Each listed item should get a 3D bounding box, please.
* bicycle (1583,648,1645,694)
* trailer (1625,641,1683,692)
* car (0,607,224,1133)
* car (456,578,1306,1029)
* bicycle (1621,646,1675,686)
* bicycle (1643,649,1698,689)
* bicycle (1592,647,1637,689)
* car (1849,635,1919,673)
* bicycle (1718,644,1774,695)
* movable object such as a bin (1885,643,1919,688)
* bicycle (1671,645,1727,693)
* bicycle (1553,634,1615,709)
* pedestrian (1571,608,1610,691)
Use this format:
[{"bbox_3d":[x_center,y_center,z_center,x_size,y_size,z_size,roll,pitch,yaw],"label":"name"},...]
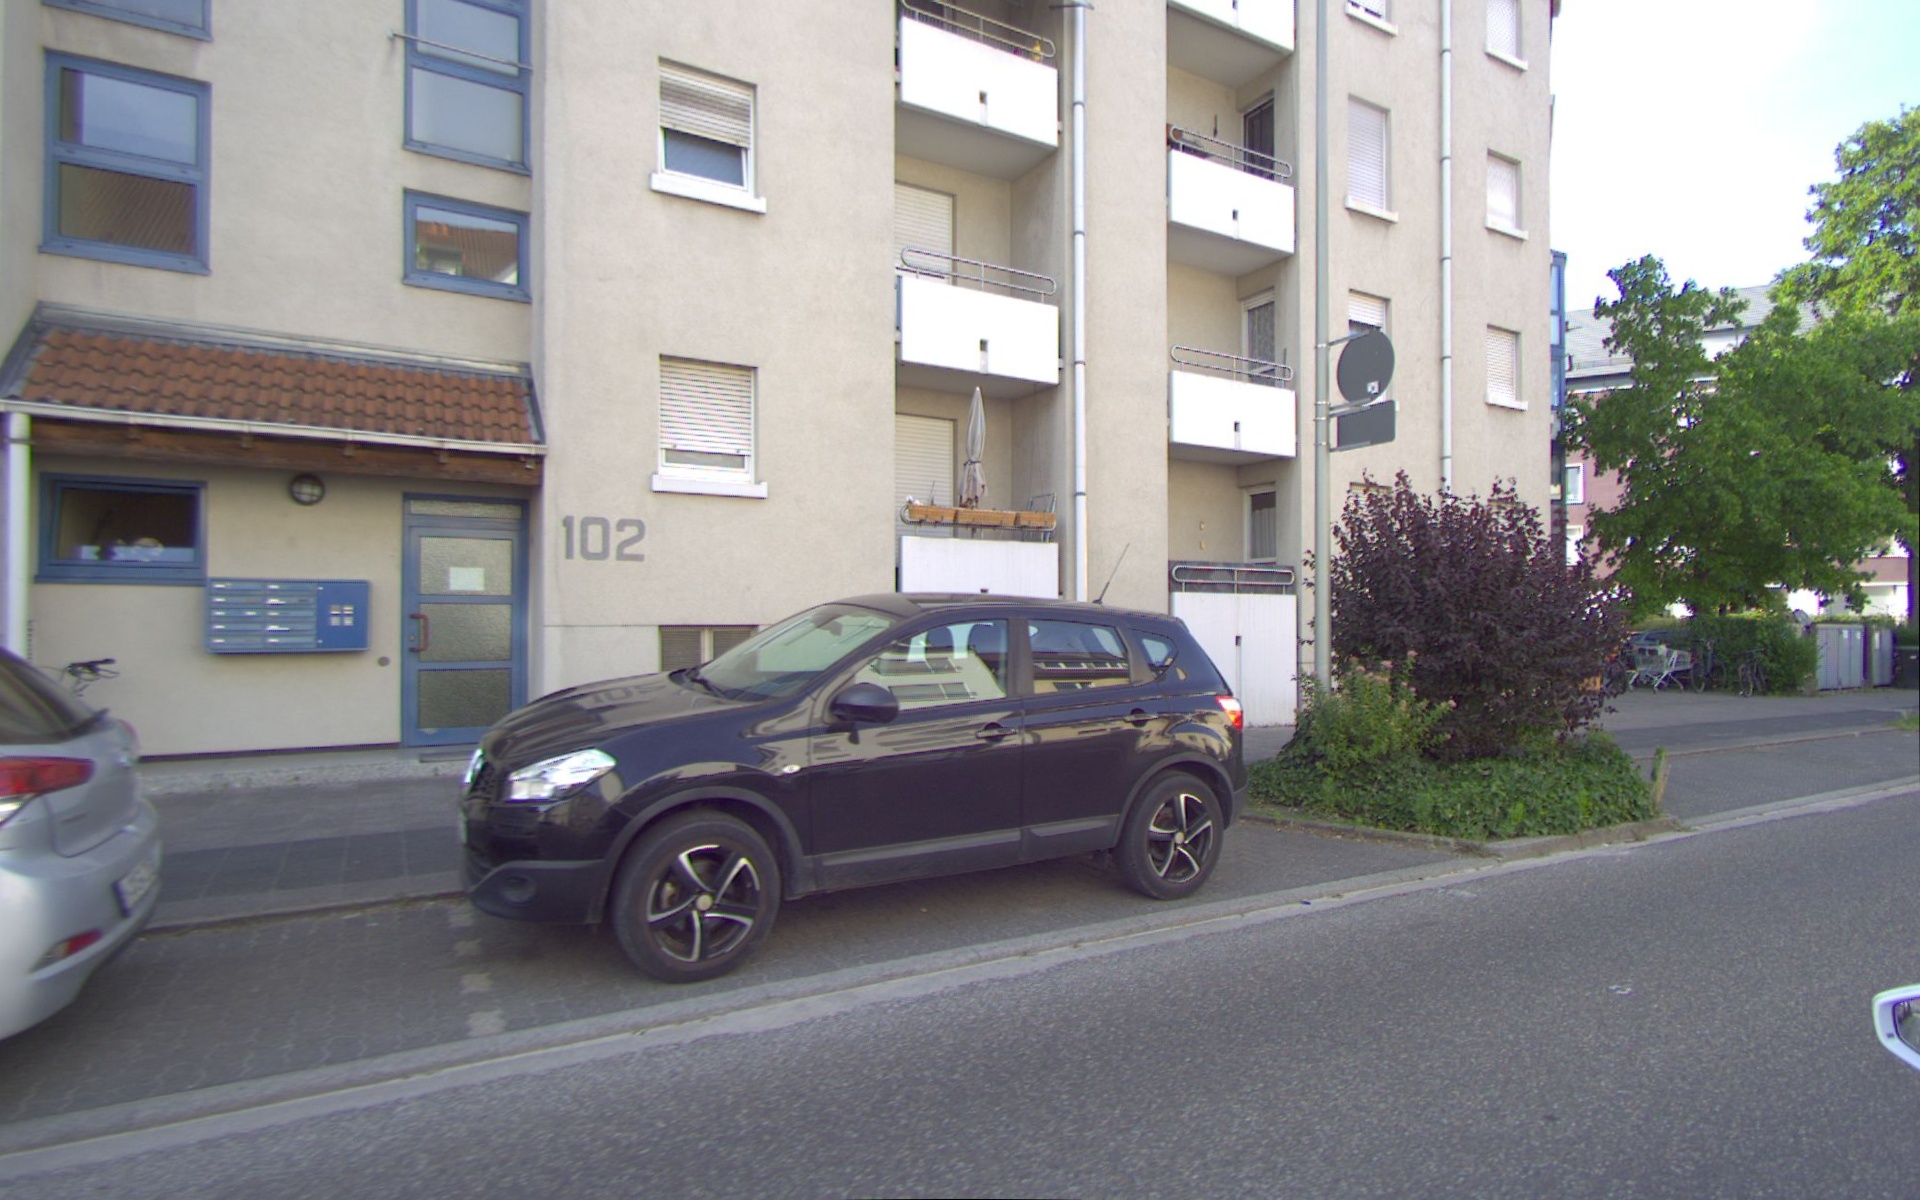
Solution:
[{"bbox_3d":[14.009,1.508,21.538,0.454,0.863,1.454,0,1,4],"label":"bicycle"},{"bbox_3d":[14.906,1.423,21.594,0.894,1.070,0.584,1,-1,-14],"label":"trailer"},{"bbox_3d":[-4.612,0.741,2.667,4.092,1.474,1.678,1,-1,-31],"label":"car"},{"bbox_3d":[-0.262,0.776,5.458,4.320,1.624,1.677,1,-1,-31],"label":"car"},{"bbox_3d":[15.886,1.511,23.185,1.665,0.863,0.459,1,-1,-34],"label":"bicycle"},{"bbox_3d":[16.073,1.544,22.708,1.665,0.863,0.459,1,-1,-34],"label":"bicycle"},{"bbox_3d":[14.661,1.516,22.530,0.453,0.893,1.240,0,-1,13],"label":"bicycle"},{"bbox_3d":[33.782,1.896,35.364,3.396,1.305,1.662,-1,-2,29],"label":"car"},{"bbox_3d":[16.778,1.474,21.429,1.665,1.036,0.459,1,-1,-34],"label":"bicycle"},{"bbox_3d":[23.664,1.625,24.978,0.806,1.054,0.748,1,2,-29],"label":"movable object such as a bin"},{"bbox_3d":[16.303,1.508,22.144,1.665,1.006,0.459,1,-1,-34],"label":"bicycle"},{"bbox_3d":[11.155,1.255,17.993,0.874,1.266,1.209,-1,-2,29],"label":"bicycle"},{"bbox_3d":[13.444,1.053,21.428,0.517,1.746,0.442,1,1,-20],"label":"pedestrian"}]
